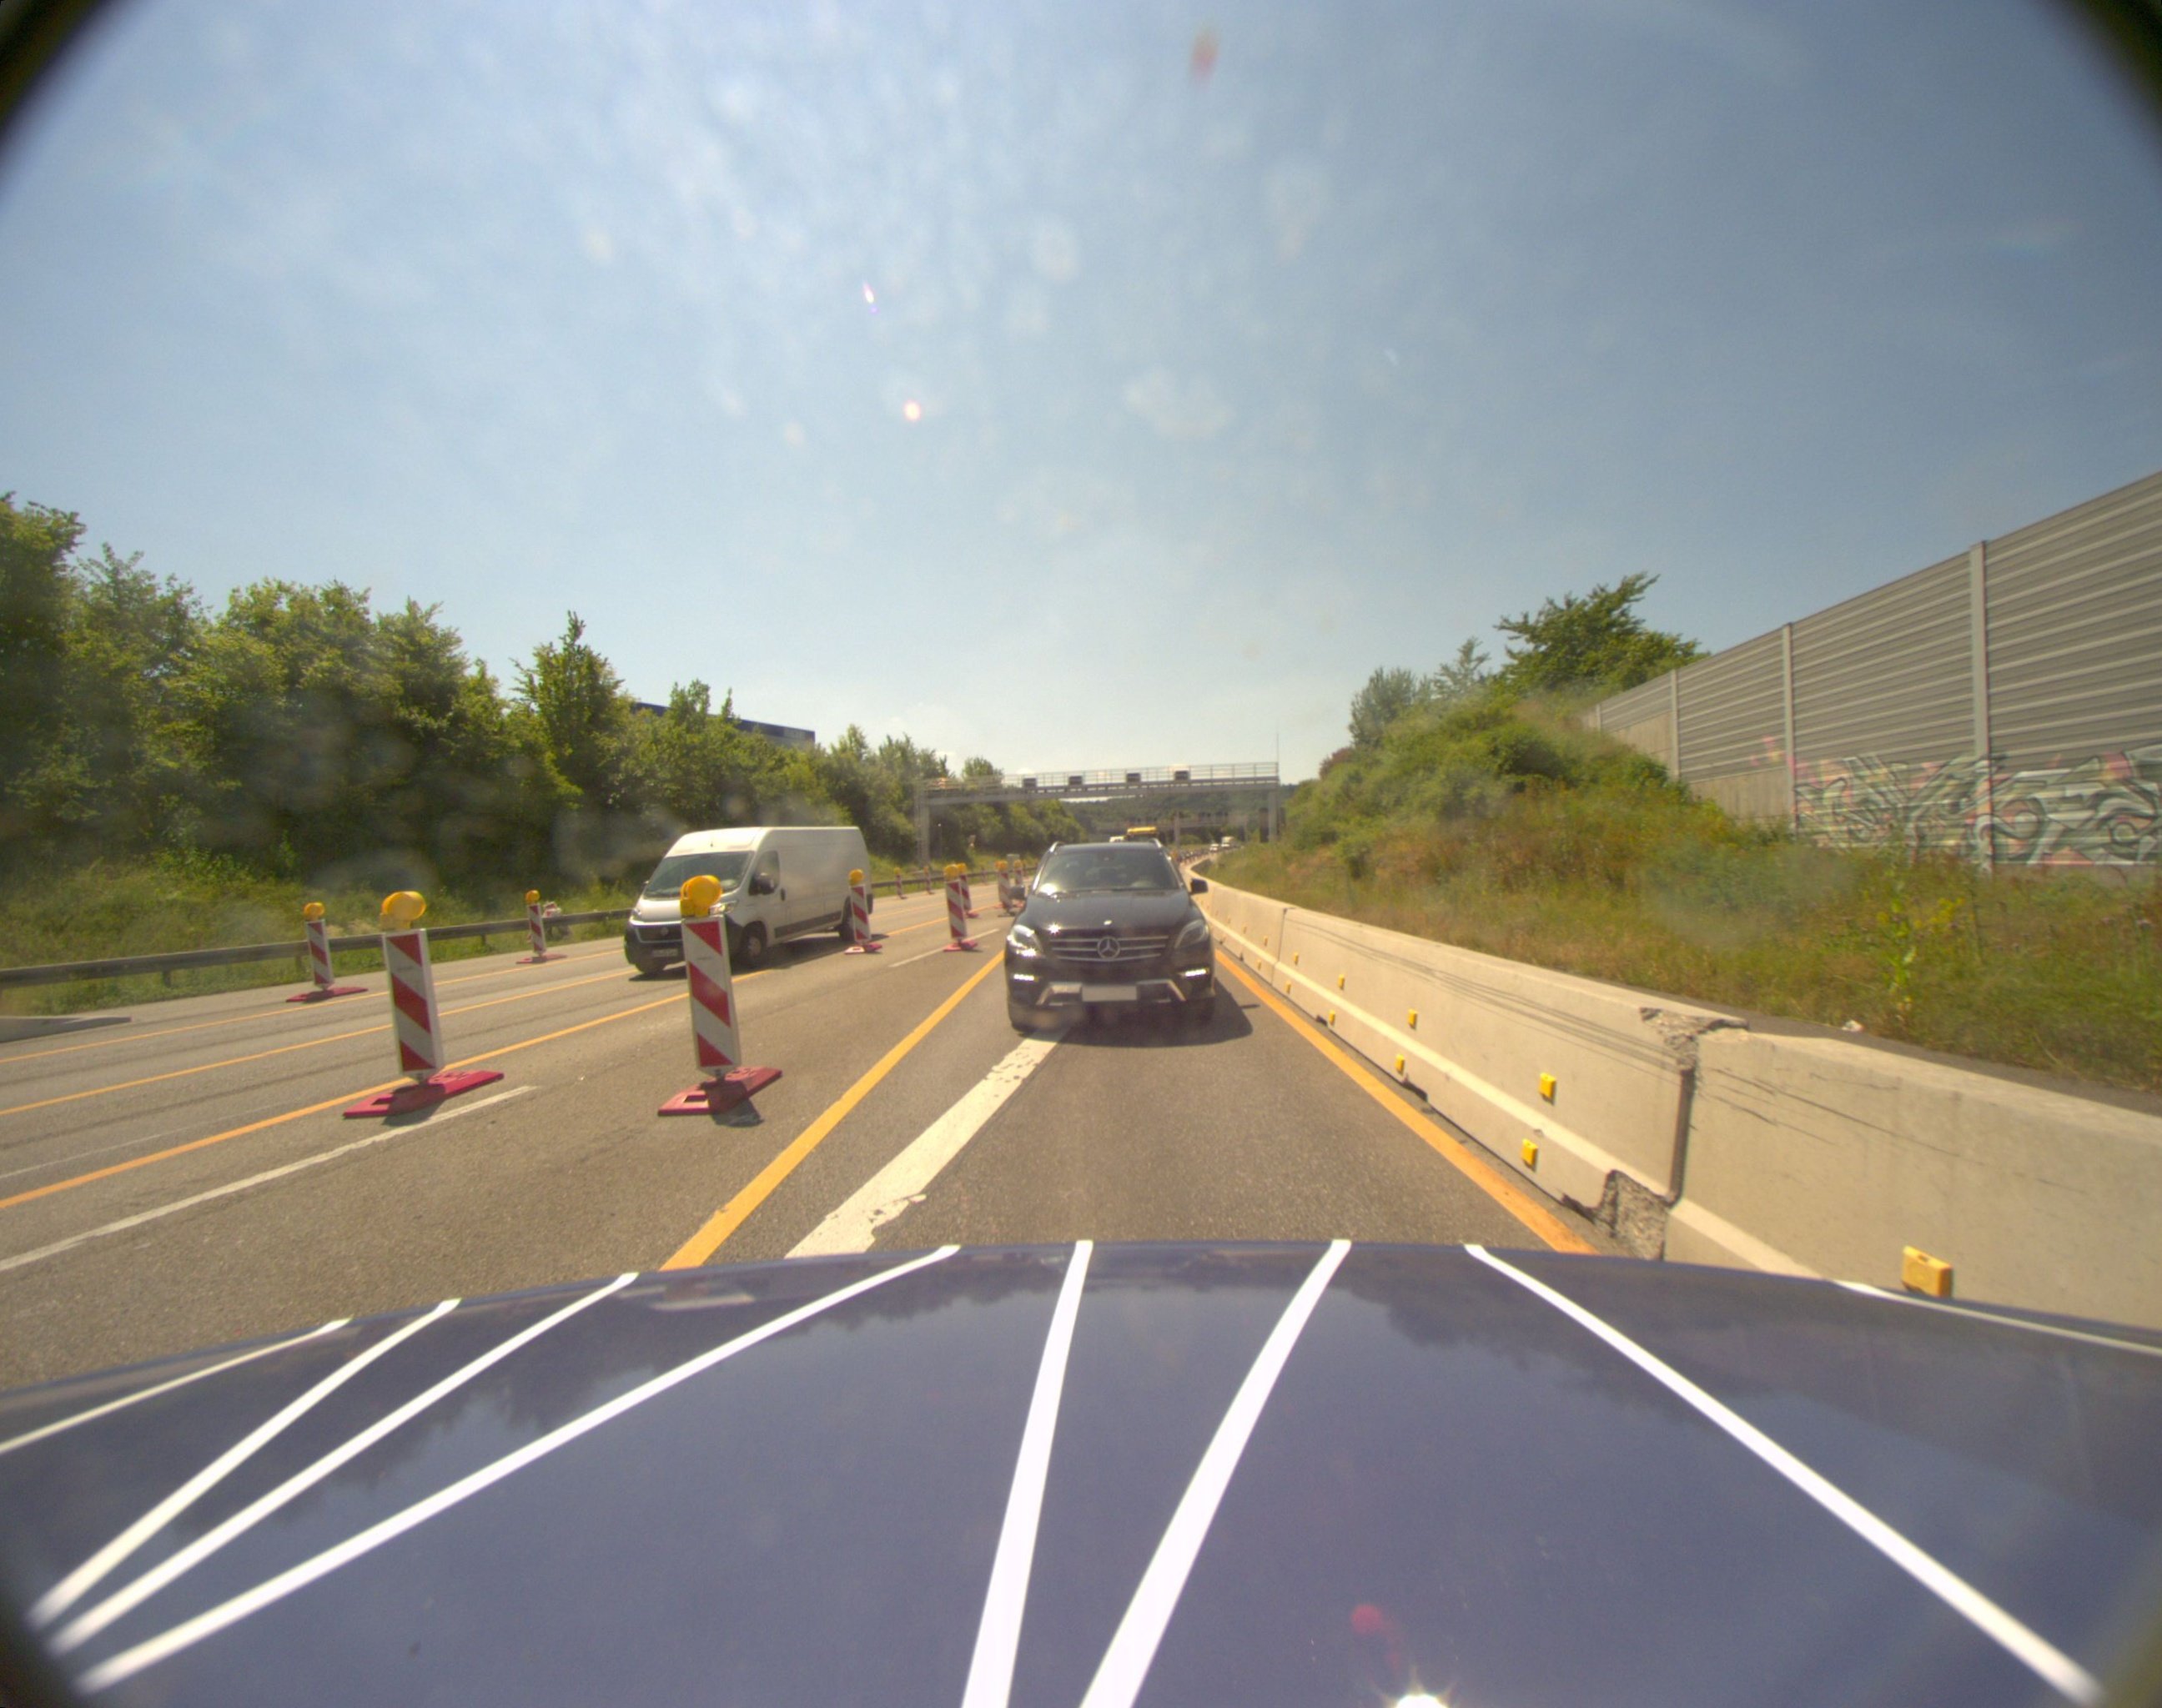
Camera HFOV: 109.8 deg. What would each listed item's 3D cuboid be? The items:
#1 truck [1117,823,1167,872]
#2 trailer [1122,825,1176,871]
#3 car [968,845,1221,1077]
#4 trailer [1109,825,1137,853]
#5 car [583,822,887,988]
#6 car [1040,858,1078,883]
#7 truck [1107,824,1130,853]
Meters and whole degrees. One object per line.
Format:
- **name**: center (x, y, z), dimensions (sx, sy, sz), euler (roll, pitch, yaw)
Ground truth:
- **truck**: center (5.168, -0.493, 63.281), dimensions (3.227, 3.639, 7.089), euler (-3, -1, 10)
- **trailer**: center (6.720, -0.468, 71.647), dimensions (3.234, 3.645, 17.437), euler (-3, -1, 11)
- **car**: center (0.333, 0.799, 7.950), dimensions (1.819, 1.685, 4.495), euler (-3, 0, 6)
- **trailer**: center (6.581, -2.210, 115.860), dimensions (2.545, 3.929, 13.878), euler (-3, 0, 10)
- **car**: center (-6.283, 0.782, 15.164), dimensions (2.270, 2.521, 6.588), euler (-3, 0, 7)
- **car**: center (-1.387, 1.057, 50.168), dimensions (1.998, 1.477, 4.679), euler (-3, 0, 4)
- **truck**: center (5.431, -2.160, 109.036), dimensions (2.532, 3.927, 5.602), euler (-3, 0, 9)
